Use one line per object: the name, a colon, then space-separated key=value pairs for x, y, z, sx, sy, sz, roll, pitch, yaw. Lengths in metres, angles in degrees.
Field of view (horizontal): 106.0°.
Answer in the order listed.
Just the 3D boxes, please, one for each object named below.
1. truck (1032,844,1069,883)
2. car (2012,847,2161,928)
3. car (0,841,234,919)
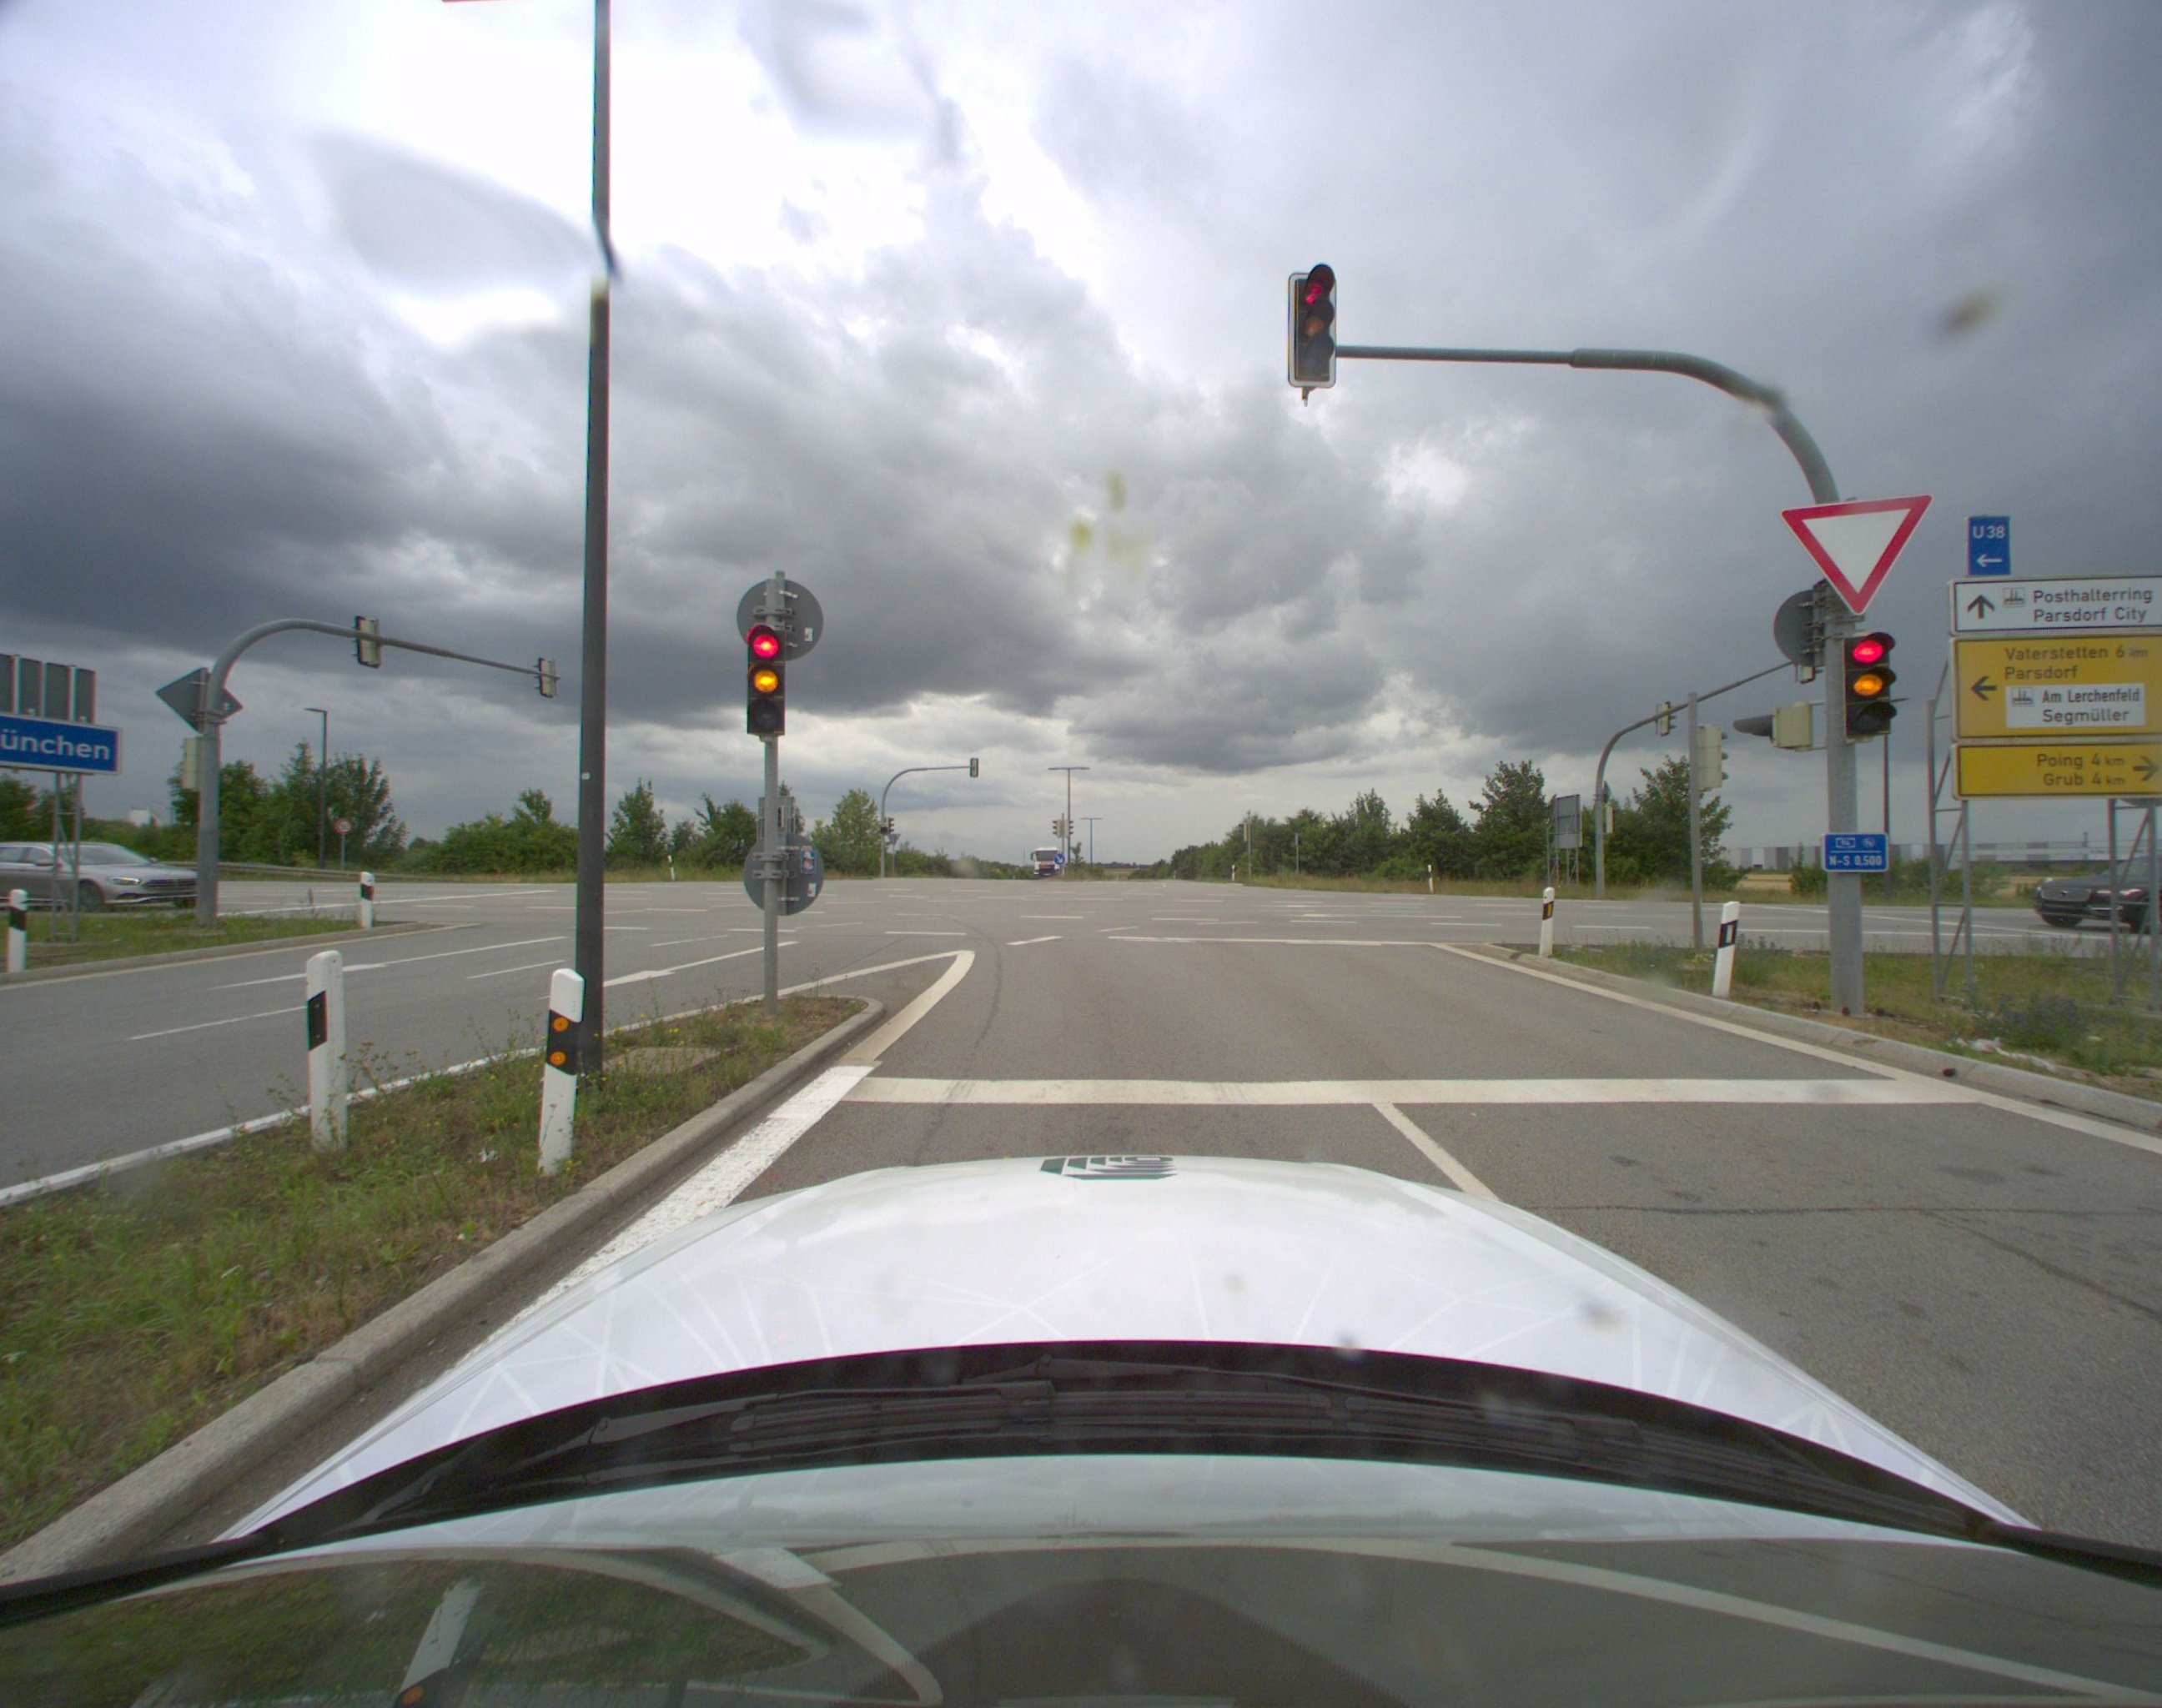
truck: x=-2.760 y=0.969 z=76.214 sx=2.858 sy=3.408 sz=8.653 roll=0 pitch=-2 yaw=2
car: x=24.111 y=0.718 z=17.710 sx=4.951 sy=1.684 sz=2.006 roll=0 pitch=0 yaw=10
car: x=-22.397 y=0.537 z=18.330 sx=4.909 sy=1.610 sz=1.924 roll=0 pitch=1 yaw=5
